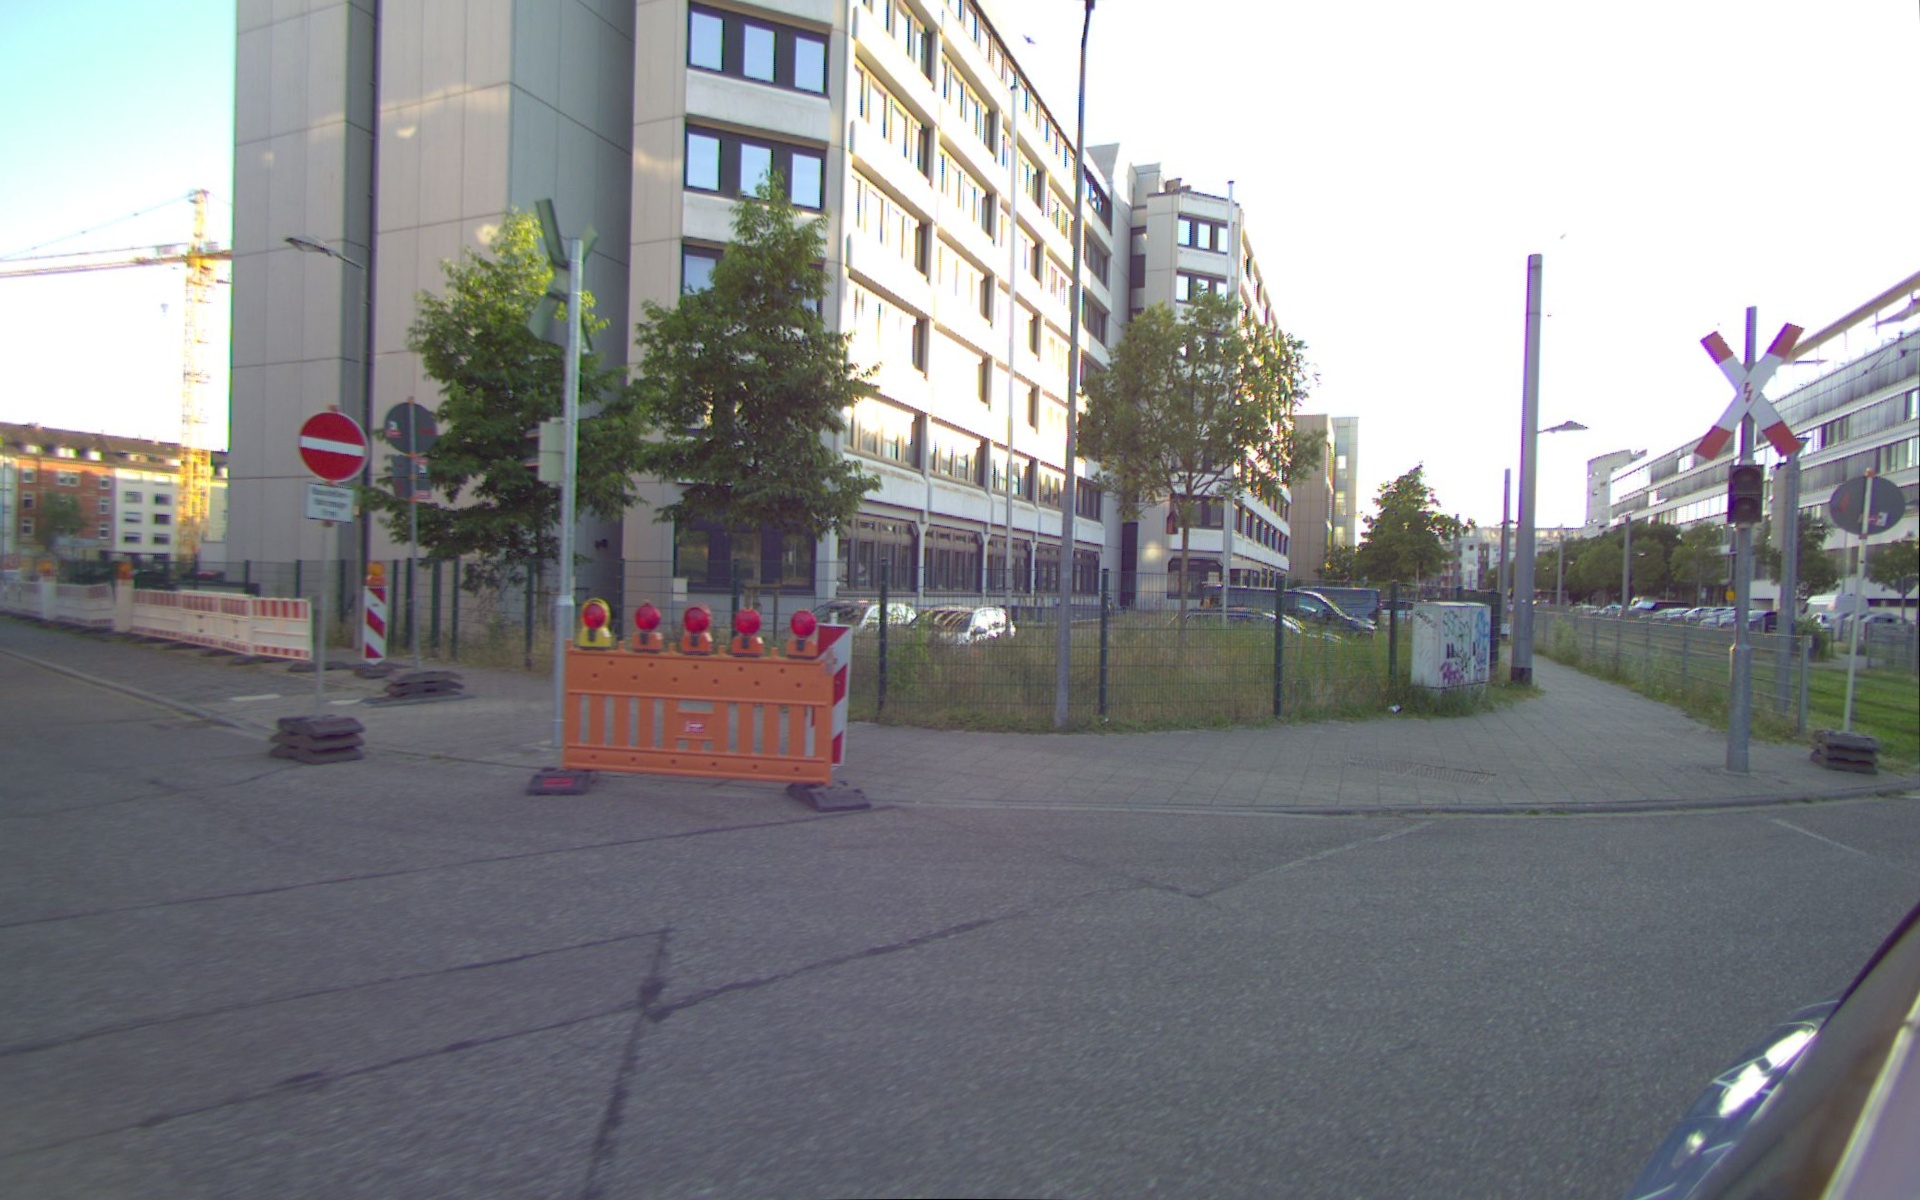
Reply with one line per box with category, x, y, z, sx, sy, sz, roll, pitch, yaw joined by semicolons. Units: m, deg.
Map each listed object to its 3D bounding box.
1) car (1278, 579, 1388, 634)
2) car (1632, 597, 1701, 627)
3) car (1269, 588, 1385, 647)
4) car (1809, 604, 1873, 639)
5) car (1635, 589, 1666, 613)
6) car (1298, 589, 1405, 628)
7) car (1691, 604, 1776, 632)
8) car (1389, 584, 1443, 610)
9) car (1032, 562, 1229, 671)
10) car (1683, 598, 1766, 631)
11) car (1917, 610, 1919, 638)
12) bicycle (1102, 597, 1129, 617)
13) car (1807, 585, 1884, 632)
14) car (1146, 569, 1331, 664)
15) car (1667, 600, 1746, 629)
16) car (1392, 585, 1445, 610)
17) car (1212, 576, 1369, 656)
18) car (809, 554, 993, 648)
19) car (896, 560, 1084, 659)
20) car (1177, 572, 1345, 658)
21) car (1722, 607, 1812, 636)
car;14.941;0.233;40.535;3.958;2.039;1.983;2;1;25
car;51.206;0.851;73.371;4.086;1.984;1.721;2;0;-12
car;14.008;0.636;38.619;3.958;2.039;1.983;2;0;25
car;42.545;1.015;48.917;1.618;1.530;3.382;2;1;29
car;78.969;0.102;115.828;1.976;2.618;3.972;1;0;21
car;17.651;0.362;45.646;4.360;1.613;1.802;2;1;25
car;43.908;1.017;57.476;3.916;1.393;1.721;2;0;-14
car;37.870;-0.284;84.152;3.953;2.039;1.986;2;0;22
car;3.573;0.310;20.881;3.931;2.039;1.996;1;0;-42
car;45.373;0.852;60.085;3.916;1.778;1.721;2;0;-12
car;54.102;1.367;54.849;1.776;1.571;3.972;0;0;21
bicycle;7.838;0.337;51.039;0.805;0.962;2.198;2;1;22
car;59.620;0.573;68.278;1.984;2.911;6.204;3;1;24
car;6.717;0.348;24.419;3.962;2.039;1.981;2;0;27
car;46.058;0.906;62.477;3.916;1.664;1.721;2;0;-12
car;39.301;-0.240;86.863;3.953;2.039;1.986;2;0;22
car;9.339;0.415;28.602;3.962;2.039;1.981;2;0;27
car;-1.348;0.031;23.977;3.931;2.039;1.996;1;0;-42
car;0.736;0.205;22.851;3.931;2.039;1.996;1;0;-42
car;7.948;0.357;26.736;3.962;2.039;1.981;2;0;27
car;42.953;1.156;53.869;3.916;1.393;1.721;2;0;-14
